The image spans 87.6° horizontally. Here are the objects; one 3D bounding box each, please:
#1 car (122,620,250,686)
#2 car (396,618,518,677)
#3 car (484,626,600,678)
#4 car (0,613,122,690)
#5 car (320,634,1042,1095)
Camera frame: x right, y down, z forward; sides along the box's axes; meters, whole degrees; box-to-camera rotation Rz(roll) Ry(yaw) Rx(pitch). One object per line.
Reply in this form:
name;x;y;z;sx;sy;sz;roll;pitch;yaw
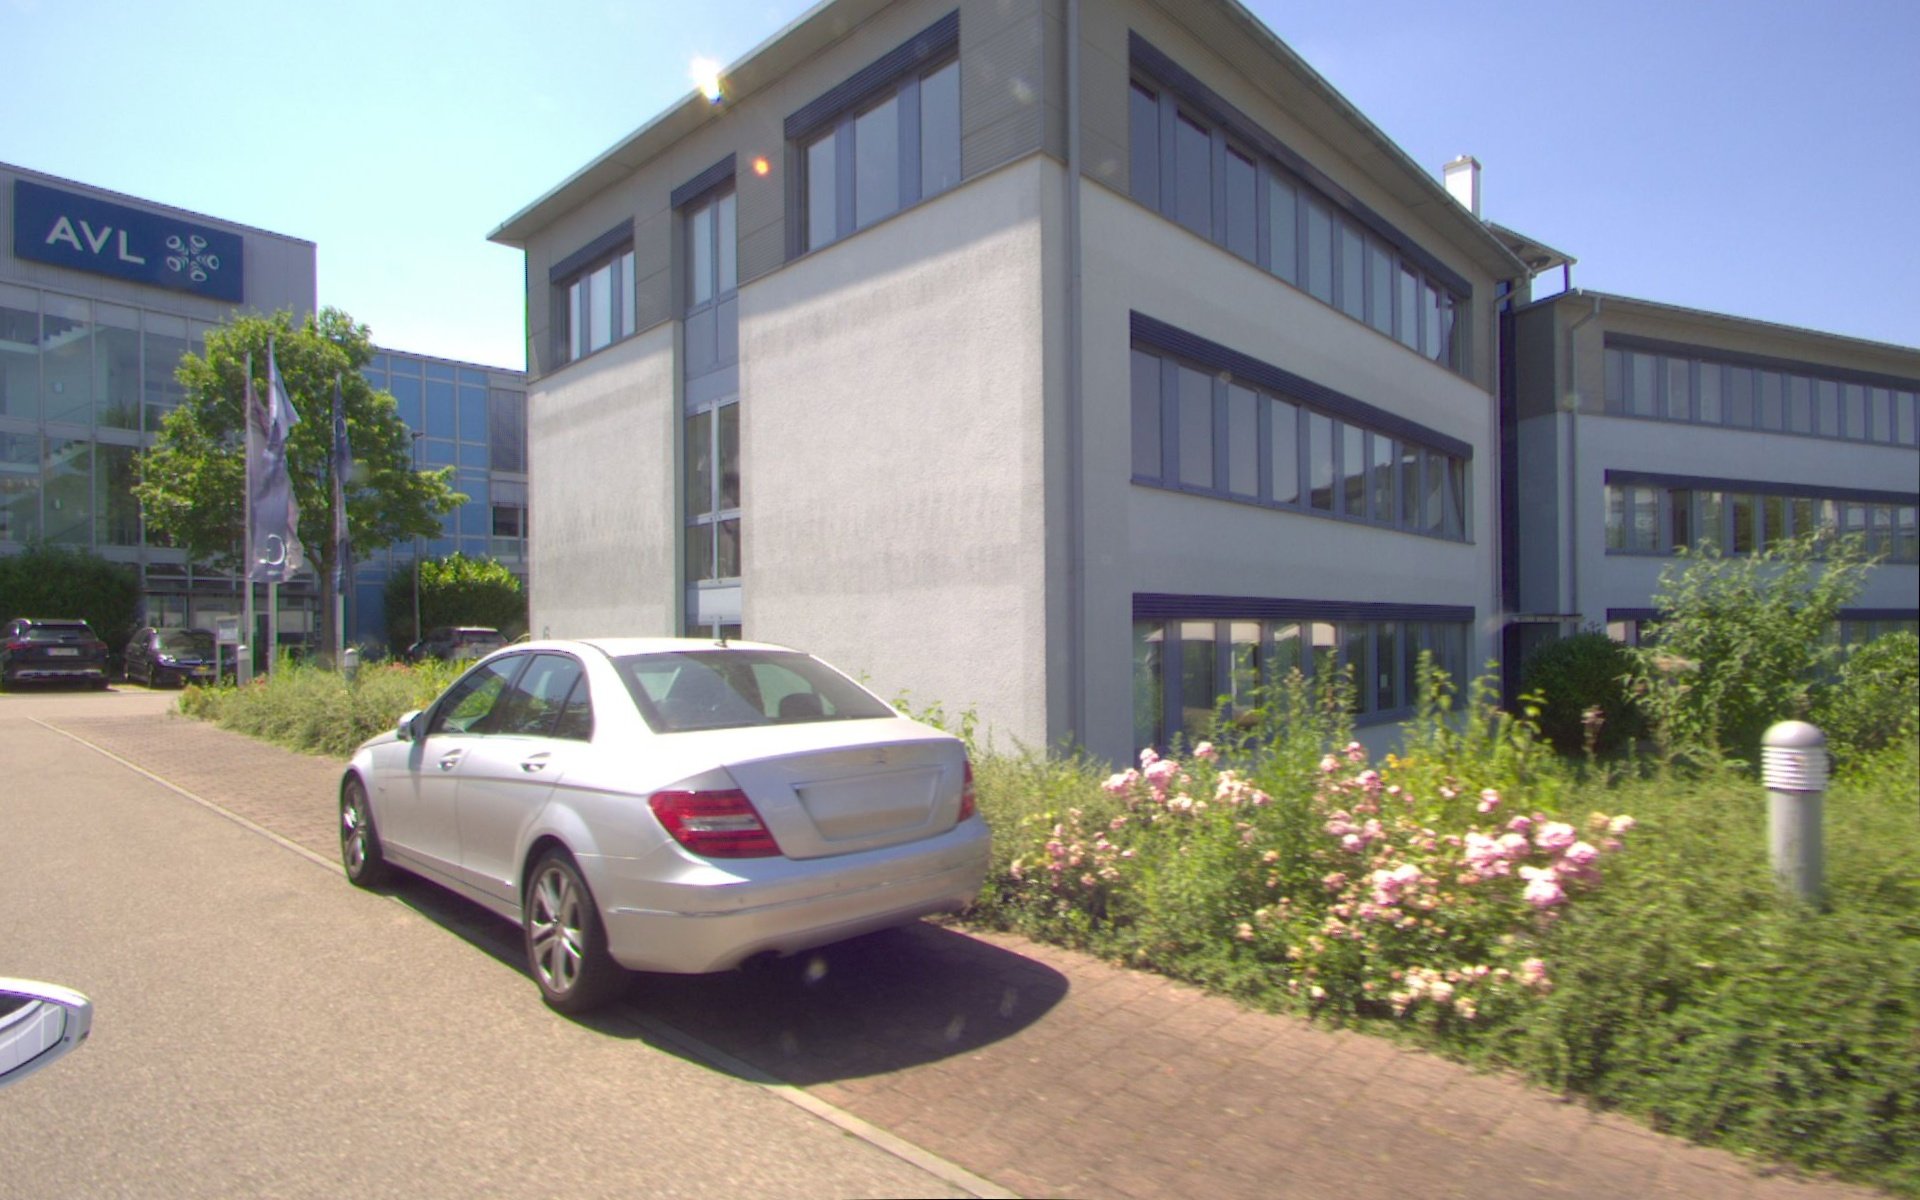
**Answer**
car;-19.974;1.308;25.786;4.208;1.501;1.762;0;-1;40
car;-15.542;1.404;30.844;4.288;1.641;1.812;0;-1;40
car;-13.652;1.659;32.600;4.288;1.511;1.729;0;-2;40
car;-21.467;1.156;23.625;3.939;1.631;1.919;0;-2;40
car;-1.804;0.894;5.308;4.375;1.416;1.789;-2;-2;45
